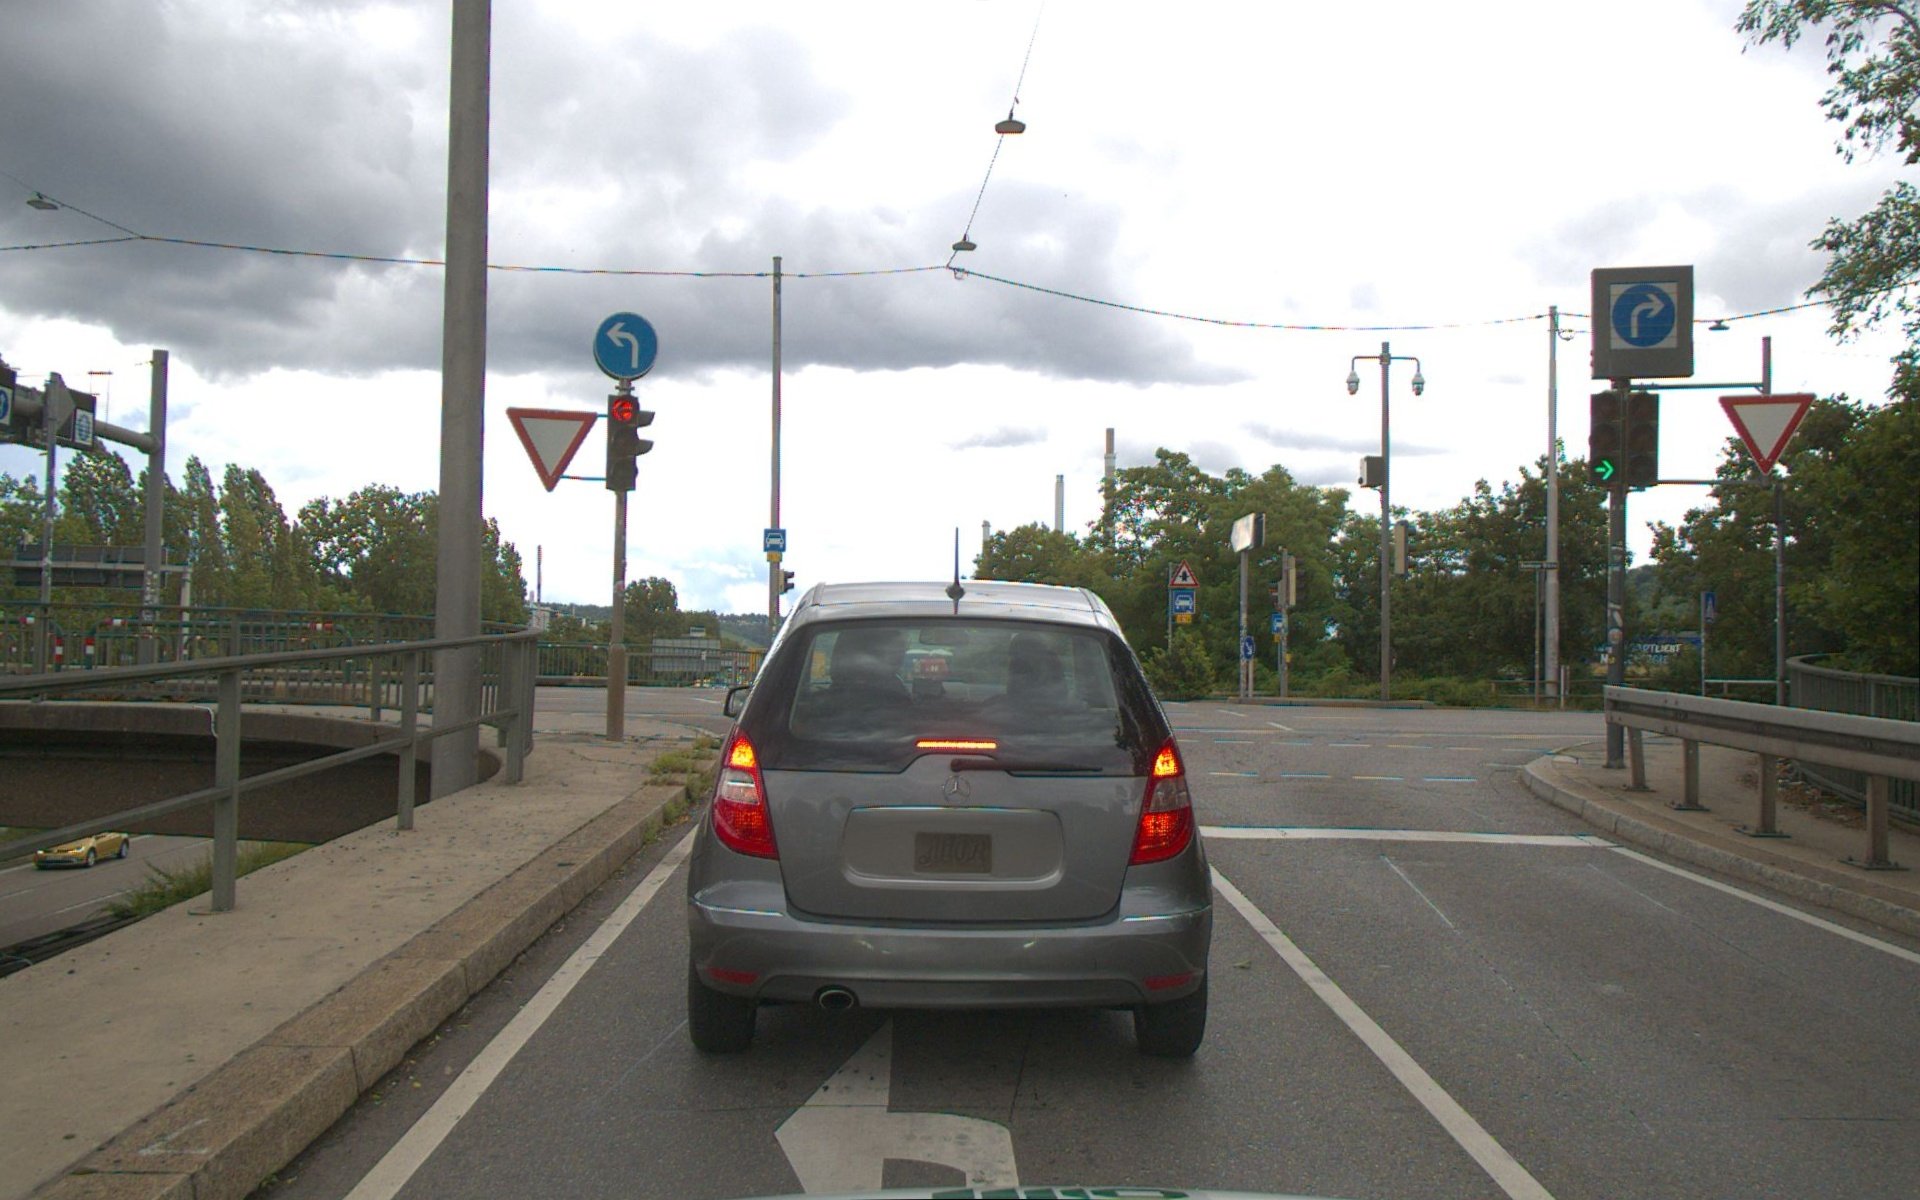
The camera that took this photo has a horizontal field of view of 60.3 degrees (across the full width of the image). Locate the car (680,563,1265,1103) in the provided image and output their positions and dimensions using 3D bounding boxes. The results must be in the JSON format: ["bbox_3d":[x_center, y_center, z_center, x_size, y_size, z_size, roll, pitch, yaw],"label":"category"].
[{"bbox_3d":[0.021,0.697,6.662,1.704,1.570,3.540,1,0,-1],"label":"car"}]

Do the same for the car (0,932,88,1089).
[{"bbox_3d":[-16.083,6.660,25.951,1.952,2.049,5.253,0,-2,0],"label":"car"}]

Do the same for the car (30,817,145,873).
[{"bbox_3d":[-30.481,8.548,57.920,1.830,1.483,4.152,0,-2,-1],"label":"car"}]
